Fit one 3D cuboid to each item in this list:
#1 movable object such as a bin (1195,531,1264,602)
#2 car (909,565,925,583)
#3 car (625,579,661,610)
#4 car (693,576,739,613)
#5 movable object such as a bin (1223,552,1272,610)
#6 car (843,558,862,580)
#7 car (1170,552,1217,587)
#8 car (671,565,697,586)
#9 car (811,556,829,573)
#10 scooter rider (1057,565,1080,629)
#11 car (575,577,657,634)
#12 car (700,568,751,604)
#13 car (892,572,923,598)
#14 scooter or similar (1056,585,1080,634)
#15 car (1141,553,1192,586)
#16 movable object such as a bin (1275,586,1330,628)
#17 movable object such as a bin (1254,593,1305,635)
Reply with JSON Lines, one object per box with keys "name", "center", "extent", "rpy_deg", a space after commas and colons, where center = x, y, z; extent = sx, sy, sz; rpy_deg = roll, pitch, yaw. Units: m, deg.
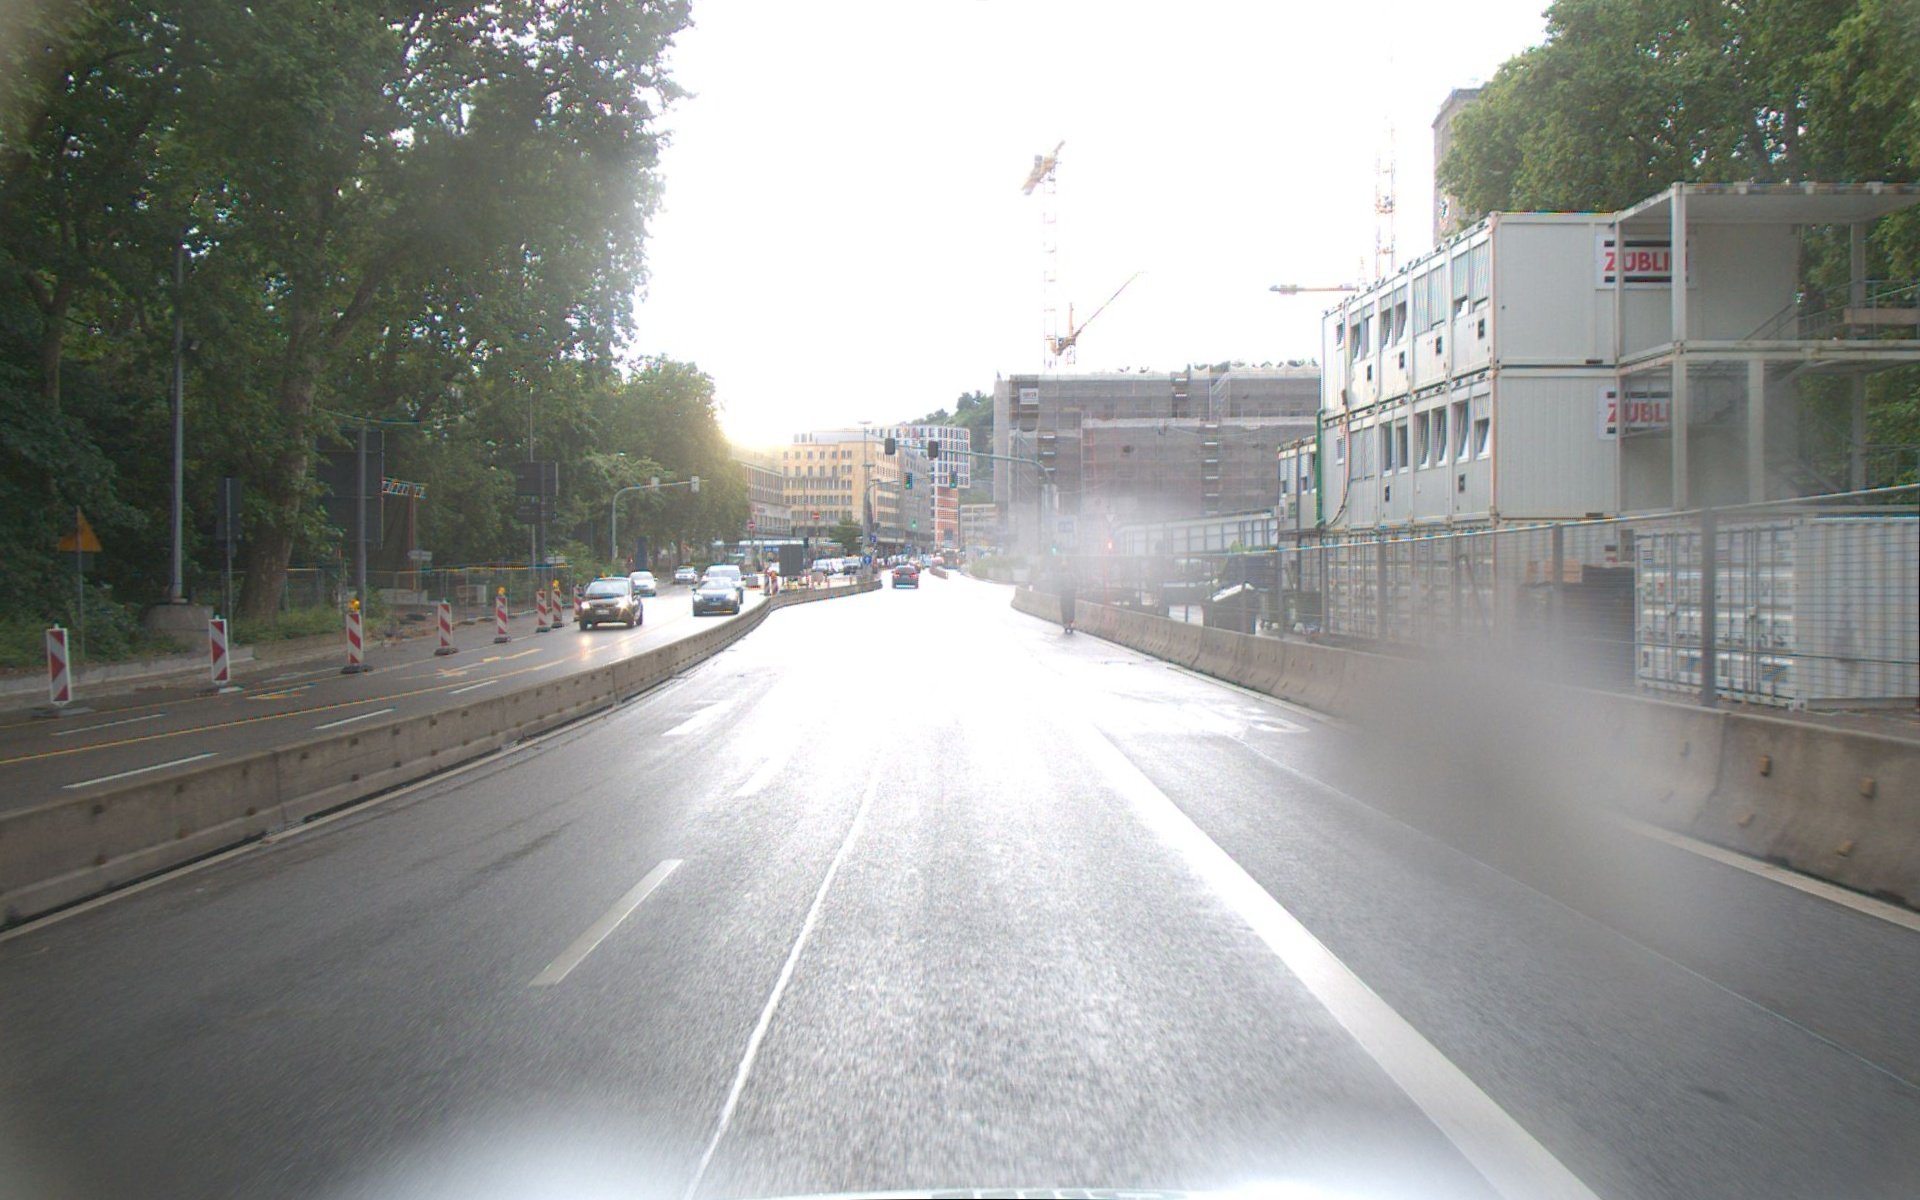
{"name": "movable object such as a bin", "center": [11.153, -1.424, 68.737], "extent": [1.772, 2.858, 3.861], "rpy_deg": [0, 3, -7]}
{"name": "car", "center": [-5.306, -3.229, 204.730], "extent": [1.953, 2.049, 3.999], "rpy_deg": [-2, -1, -1]}
{"name": "car", "center": [-19.438, -0.340, 101.576], "extent": [1.840, 1.736, 3.994], "rpy_deg": [-2, -1, -7]}
{"name": "car", "center": [-9.622, -0.227, 65.439], "extent": [1.679, 1.362, 4.055], "rpy_deg": [-2, 1, -7]}
{"name": "movable object such as a bin", "center": [11.267, -0.764, 64.862], "extent": [1.438, 2.241, 1.255], "rpy_deg": [-1, 3, -26]}
{"name": "car", "center": [-11.363, -3.230, 174.496], "extent": [1.865, 2.119, 4.173], "rpy_deg": [-2, -1, -5]}
{"name": "car", "center": [13.566, -1.800, 96.405], "extent": [1.809, 1.838, 5.085], "rpy_deg": [0, 3, -3]}
{"name": "car", "center": [-23.282, -2.021, 139.591], "extent": [1.956, 1.568, 4.438], "rpy_deg": [-2, -1, -7]}
{"name": "car", "center": [-14.718, -3.734, 174.214], "extent": [1.865, 1.554, 4.173], "rpy_deg": [-2, -1, -5]}
{"name": "scooter rider", "center": [3.090, -0.098, 47.279], "extent": [0.585, 1.817, 0.997], "rpy_deg": [0, 1, 0]}
{"name": "car", "center": [-11.284, 0.158, 54.559], "extent": [1.990, 1.682, 4.317], "rpy_deg": [-1, 2, -3]}
{"name": "car", "center": [-11.506, -0.697, 81.454], "extent": [1.990, 1.682, 4.909], "rpy_deg": [-2, 1, -3]}
{"name": "car", "center": [-3.518, -0.966, 110.256], "extent": [1.865, 1.554, 4.173], "rpy_deg": [-2, -1, -5]}
{"name": "scooter or similar", "center": [3.093, 0.256, 47.305], "extent": [0.585, 1.342, 1.667], "rpy_deg": [0, 1, 0]}
{"name": "car", "center": [12.733, -1.896, 102.326], "extent": [1.876, 2.009, 5.155], "rpy_deg": [0, 1, -7]}
{"name": "movable object such as a bin", "center": [9.899, 0.210, 47.855], "extent": [1.222, 1.142, 1.238], "rpy_deg": [-2, -1, -3]}
{"name": "movable object such as a bin", "center": [9.854, 0.438, 51.091], "extent": [1.222, 1.258, 1.238], "rpy_deg": [-2, -1, -4]}
